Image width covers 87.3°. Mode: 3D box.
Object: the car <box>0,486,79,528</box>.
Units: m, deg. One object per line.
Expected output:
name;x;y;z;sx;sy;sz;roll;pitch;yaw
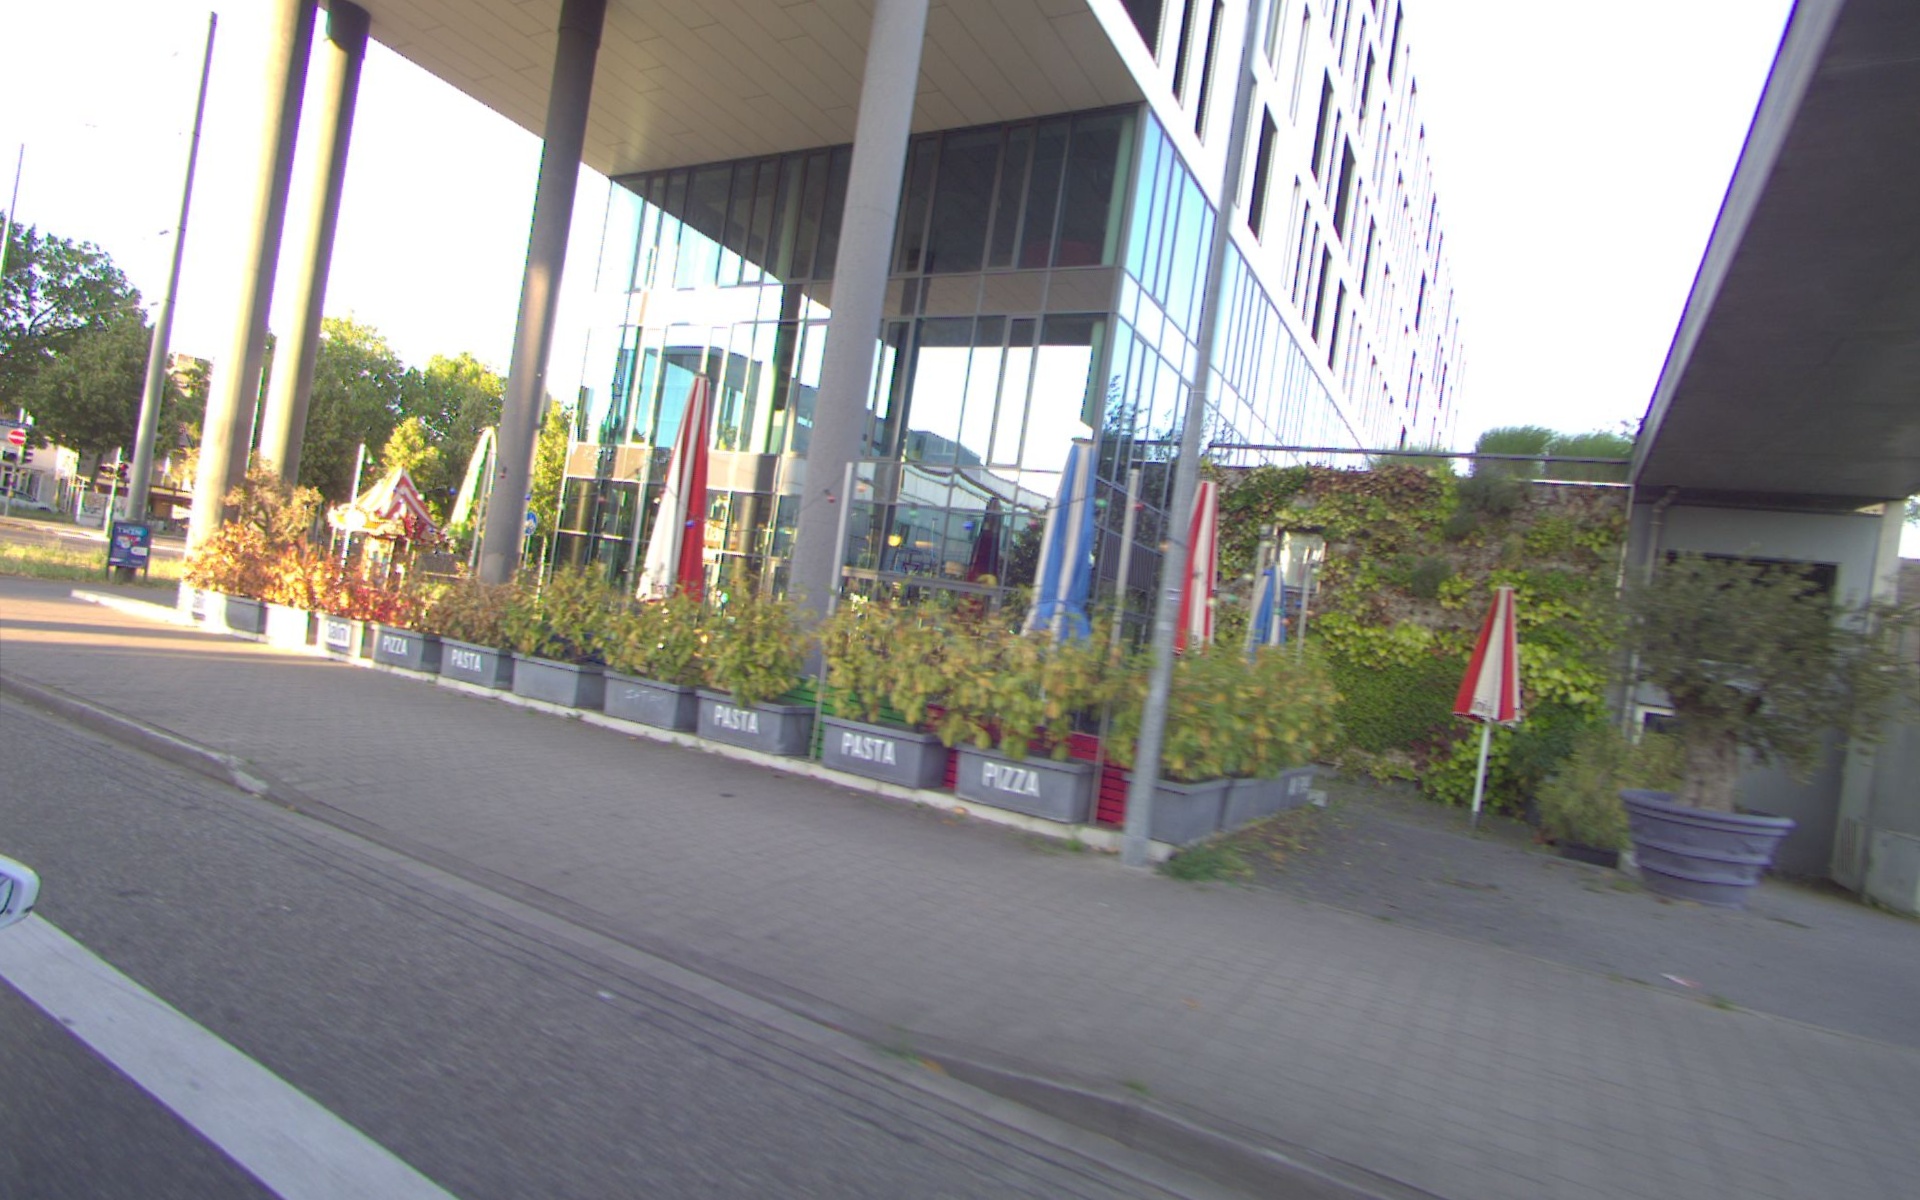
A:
car;-56.438;-5.725;60.668;1.913;1.837;4.475;9;-1;33

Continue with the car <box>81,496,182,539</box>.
car;-53.246;-5.259;64.737;1.913;1.837;4.475;9;-1;33
